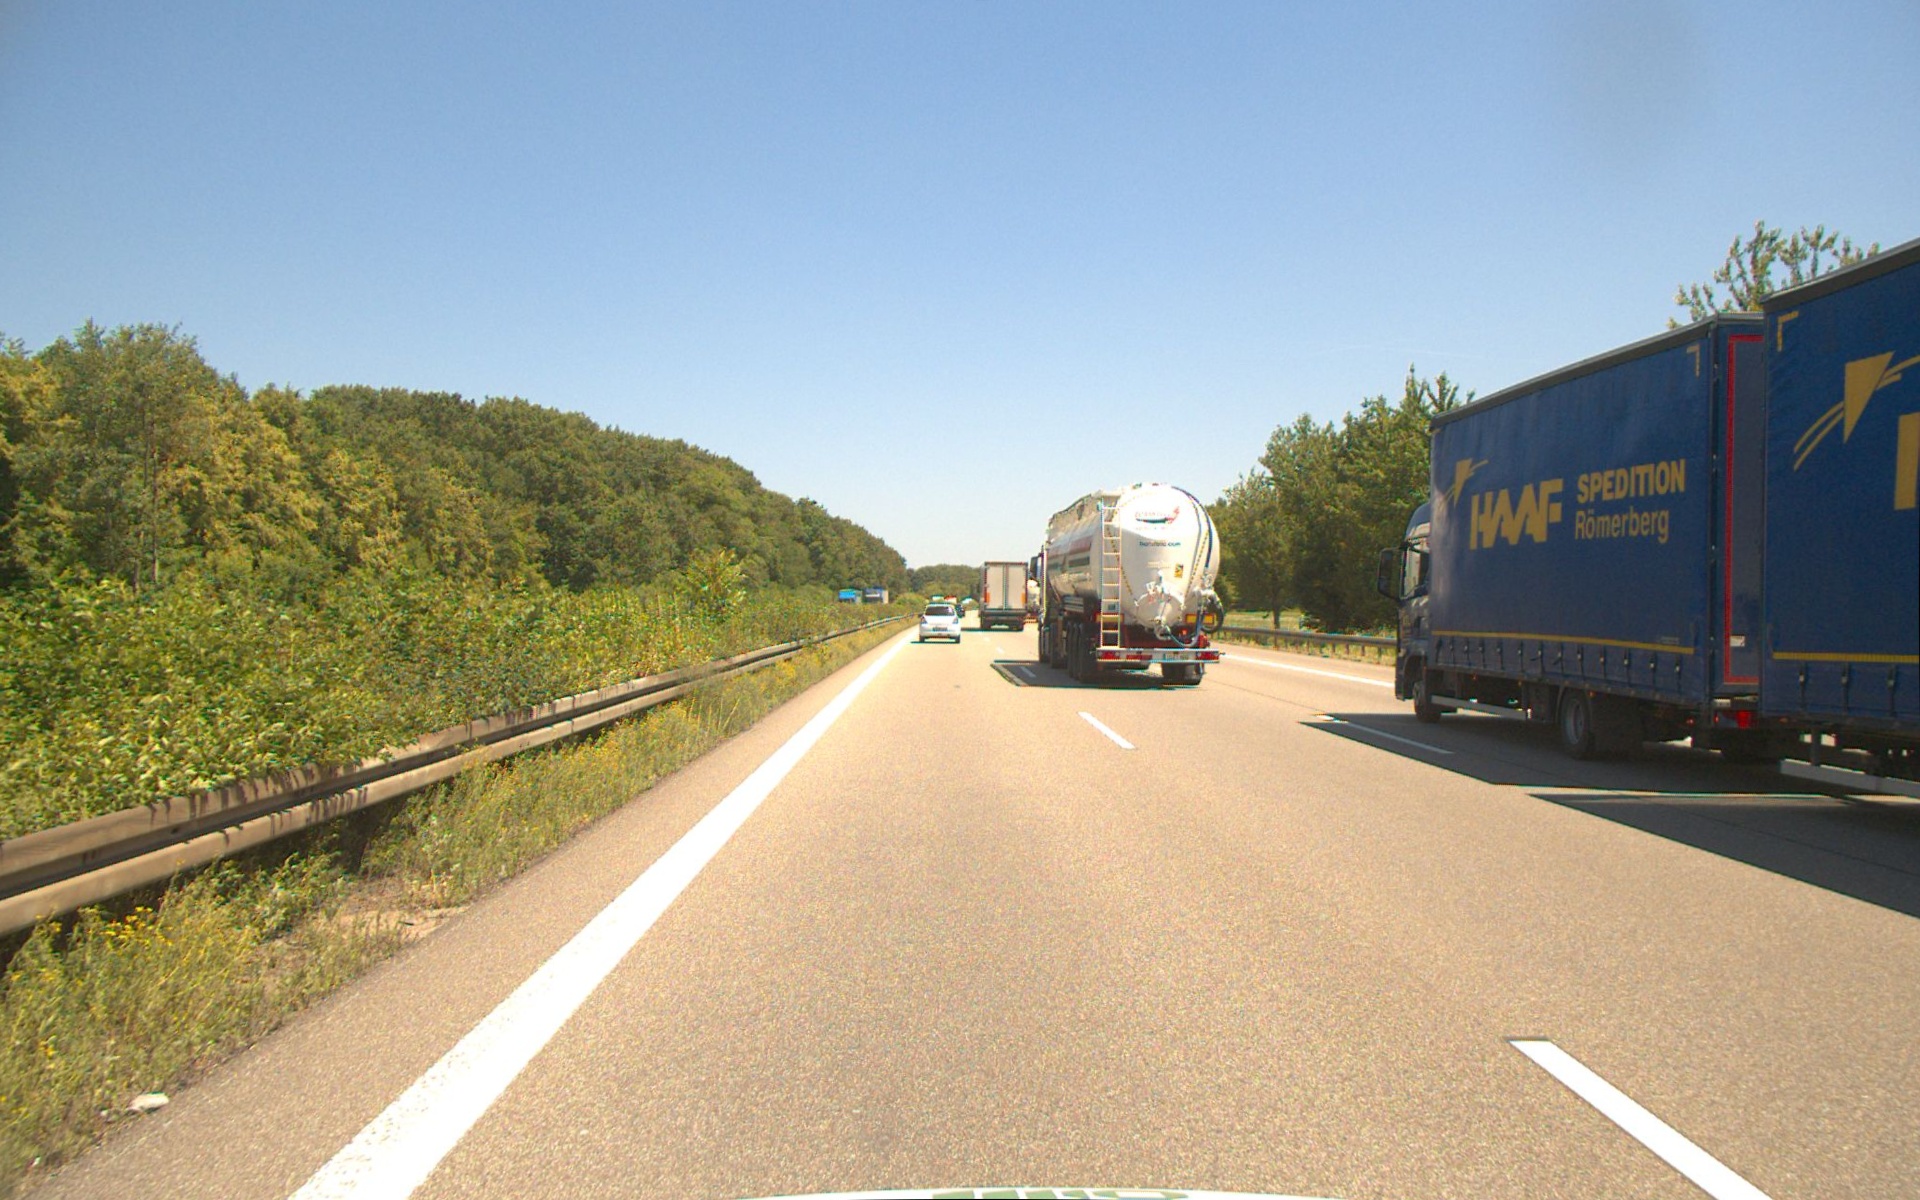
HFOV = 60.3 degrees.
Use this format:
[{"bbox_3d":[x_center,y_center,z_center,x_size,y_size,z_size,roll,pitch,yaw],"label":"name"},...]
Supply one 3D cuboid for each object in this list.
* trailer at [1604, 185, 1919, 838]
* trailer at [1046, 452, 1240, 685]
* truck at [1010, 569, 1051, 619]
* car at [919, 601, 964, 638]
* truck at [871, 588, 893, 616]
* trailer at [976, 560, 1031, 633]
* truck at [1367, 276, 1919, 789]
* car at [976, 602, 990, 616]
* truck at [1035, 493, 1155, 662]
[{"bbox_3d":[7.658,-0.582,10.557,2.733,4.278,10.804,0,0,-1],"label":"trailer"},{"bbox_3d":[3.674,-0.572,36.518,2.733,4.278,12.350,0,0,-1],"label":"trailer"},{"bbox_3d":[6.404,-0.540,152.690,3.158,4.421,10.804,0,0,-1],"label":"truck"},{"bbox_3d":[-0.759,0.777,66.795,1.775,1.429,3.316,0,0,-1],"label":"car"},{"bbox_3d":[-11.313,0.316,240.042,2.811,4.080,5.000,0,0,0],"label":"truck"},{"bbox_3d":[2.789,-0.208,102.410,3.156,4.216,12.355,0,0,2],"label":"trailer"},{"bbox_3d":[7.511,-0.558,19.214,2.733,4.278,10.804,0,0,-1],"label":"truck"},{"bbox_3d":[2.847,1.121,205.796,1.634,1.796,4.000,0,0,0],"label":"car"},{"bbox_3d":[3.553,-0.571,44.561,2.733,4.278,4.999,0,0,-1],"label":"truck"}]
